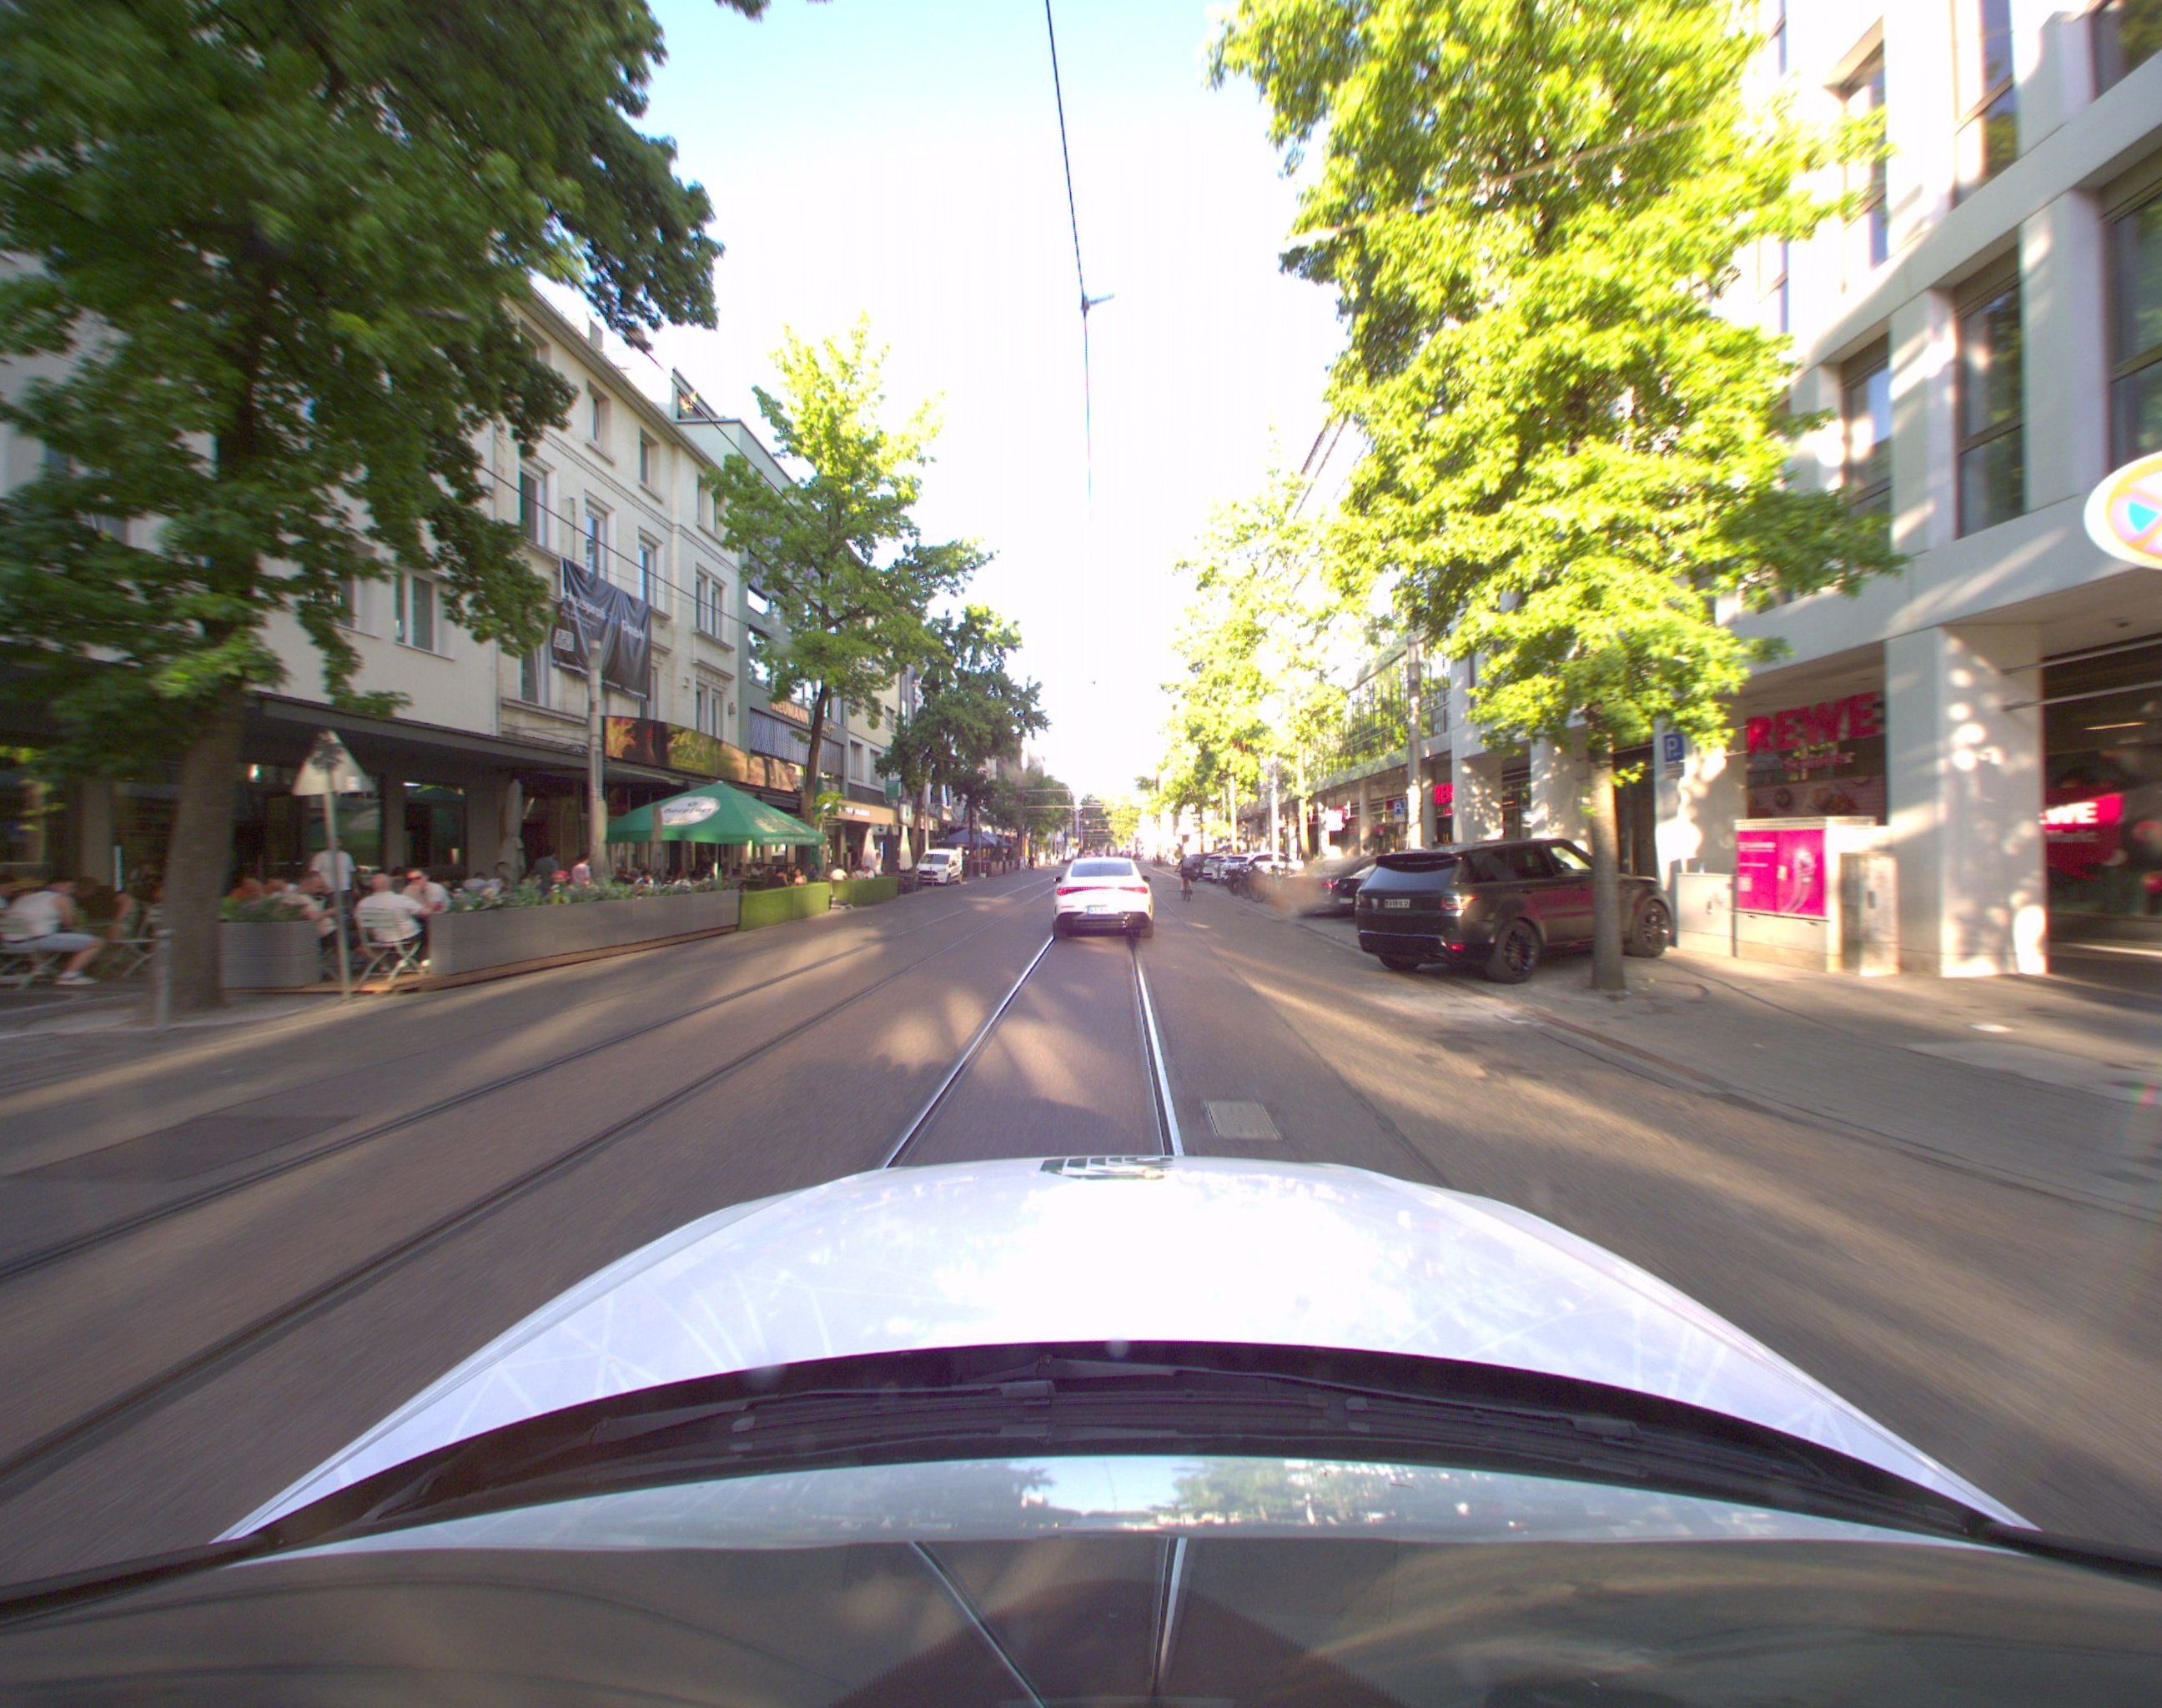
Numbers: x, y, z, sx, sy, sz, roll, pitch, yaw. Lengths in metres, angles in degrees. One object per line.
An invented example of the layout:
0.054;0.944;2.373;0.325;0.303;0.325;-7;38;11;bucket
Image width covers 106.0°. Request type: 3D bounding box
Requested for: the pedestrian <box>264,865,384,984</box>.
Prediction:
-9.272;0.837;10.005;0.686;1.386;0.807;1;0;3;pedestrian

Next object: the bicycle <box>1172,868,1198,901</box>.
3.507;0.999;27.397;0.714;0.995;2.065;1;0;11;bicycle

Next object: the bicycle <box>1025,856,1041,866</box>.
-5.492;0.842;93.612;1.838;1.141;0.377;0;0;3;bicycle

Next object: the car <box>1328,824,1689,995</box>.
5.886;0.610;11.140;4.678;1.763;1.977;-3;0;-27;car

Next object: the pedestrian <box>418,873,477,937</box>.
-12.013;0.955;15.454;0.550;1.161;0.687;1;0;3;pedestrian

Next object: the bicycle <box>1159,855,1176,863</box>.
11.563;0.655;108.809;2.114;1.096;0.607;-1;-1;-11;bicycle

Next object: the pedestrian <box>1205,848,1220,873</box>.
8.943;0.436;55.507;0.672;1.685;0.700;-3;0;36;pedestrian

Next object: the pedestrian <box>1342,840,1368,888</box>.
9.769;0.350;29.040;0.679;1.696;0.548;-1;0;-10;pedestrian

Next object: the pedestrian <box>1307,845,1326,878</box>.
11.990;0.379;41.488;0.711;1.624;0.883;-2;0;3;pedestrian

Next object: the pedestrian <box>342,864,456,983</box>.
-8.418;0.827;10.086;0.686;1.386;0.807;1;0;3;pedestrian

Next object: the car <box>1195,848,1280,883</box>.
8.391;0.599;43.621;4.261;1.587;1.866;-3;0;-29;car

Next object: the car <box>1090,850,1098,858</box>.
3.779;-0.038;236.670;1.902;2.461;5.278;-1;0;3;car

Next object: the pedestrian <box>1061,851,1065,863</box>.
-2.938;0.476;129.959;0.536;1.929;0.574;-1;0;6;pedestrian

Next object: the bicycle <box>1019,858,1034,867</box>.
-5.796;0.950;86.525;1.586;0.930;0.378;0;0;8;bicycle

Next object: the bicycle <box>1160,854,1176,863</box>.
11.281;0.589;105.690;1.908;1.156;0.608;-3;0;-9;bicycle

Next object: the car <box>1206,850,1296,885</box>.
8.540;0.659;40.863;4.163;1.499;1.677;-3;0;-22;car

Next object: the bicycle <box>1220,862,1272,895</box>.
6.386;0.934;31.441;1.901;1.119;0.661;-3;-1;-27;bicycle

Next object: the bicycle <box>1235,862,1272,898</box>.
6.254;0.942;29.494;0.475;1.163;1.705;-4;-1;42;bicycle

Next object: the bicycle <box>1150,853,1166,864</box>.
10.115;0.594;106.535;1.908;1.281;0.608;-3;0;-9;bicycle

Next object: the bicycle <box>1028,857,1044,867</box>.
-5.019;0.896;91.126;1.841;1.077;0.377;0;0;-2;bicycle

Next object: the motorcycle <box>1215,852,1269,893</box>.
6.548;0.737;33.005;2.332;1.510;0.849;-3;-1;-42;motorcycle

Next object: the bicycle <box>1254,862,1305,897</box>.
7.124;0.916;29.183;1.697;1.106;0.627;-4;-1;-24;bicycle

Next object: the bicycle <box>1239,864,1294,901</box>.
6.203;0.949;27.246;1.567;1.088;0.861;-4;2;-28;bicycle

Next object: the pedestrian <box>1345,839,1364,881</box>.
11.776;0.250;35.086;0.555;1.750;0.525;-3;0;2;pedestrian

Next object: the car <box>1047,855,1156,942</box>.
0.423;0.761;15.916;1.850;1.455;4.177;0;0;2;car

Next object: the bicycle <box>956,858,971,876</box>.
-7.756;0.856;53.718;0.699;1.121;2.076;2;0;-15;bicycle

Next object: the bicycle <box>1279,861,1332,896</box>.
7.737;0.828;28.069;1.679;1.074;0.726;-4;2;-28;bicycle

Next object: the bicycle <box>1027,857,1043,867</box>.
-5.052;0.885;89.883;1.784;1.077;0.377;0;0;-2;bicycle

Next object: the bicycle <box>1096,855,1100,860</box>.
3.519;0.735;166.213;0.797;1.142;2.257;1;0;1;bicycle

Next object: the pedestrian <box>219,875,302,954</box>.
-12.658;0.921;12.579;0.550;1.161;0.687;1;0;3;pedestrian

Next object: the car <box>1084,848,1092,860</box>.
1.846;-0.010;218.046;1.985;2.897;5.278;-1;0;3;car

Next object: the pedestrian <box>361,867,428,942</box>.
-12.362;0.901;14.682;0.599;1.298;0.687;1;0;3;pedestrian

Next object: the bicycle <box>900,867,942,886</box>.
-7.701;1.096;39.290;0.826;0.865;1.872;1;0;41;bicycle

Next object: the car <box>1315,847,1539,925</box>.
8.007;0.693;18.897;4.666;1.426;1.921;-3;0;-19;car

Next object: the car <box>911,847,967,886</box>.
-7.371;0.613;42.693;1.788;1.864;4.557;2;0;3;car

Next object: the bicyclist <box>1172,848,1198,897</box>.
3.497;0.604;27.316;0.772;1.613;0.915;1;0;11;bicyclist

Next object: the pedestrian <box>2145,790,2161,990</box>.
9.895;0.317;6.913;0.746;1.818;0.808;-4;-2;35;pedestrian

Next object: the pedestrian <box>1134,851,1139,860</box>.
11.195;0.356;163.486;0.957;1.785;0.804;-3;0;2;pedestrian

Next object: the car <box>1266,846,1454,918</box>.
7.415;0.683;21.462;5.082;1.469;1.956;-4;0;-34;car

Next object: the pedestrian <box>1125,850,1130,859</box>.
9.491;0.061;165.517;0.957;1.785;0.804;-3;0;2;pedestrian

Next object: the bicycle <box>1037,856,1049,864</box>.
-5.092;0.835;108.690;1.491;1.029;0.344;0;0;-8;bicycle

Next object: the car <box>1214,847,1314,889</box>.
8.141;0.610;36.171;4.174;1.571;1.836;-3;0;-31;car

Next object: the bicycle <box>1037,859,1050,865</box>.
-4.505;0.958;98.222;1.486;0.783;0.345;0;0;3;bicycle

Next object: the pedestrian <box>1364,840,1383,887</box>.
10.521;0.345;29.346;0.514;1.696;0.551;-1;0;7;pedestrian

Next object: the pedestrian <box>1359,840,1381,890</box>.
10.406;0.403;29.313;0.521;1.750;0.559;-3;0;4;pedestrian

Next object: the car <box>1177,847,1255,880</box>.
7.905;0.532;47.567;4.369;1.652;1.679;-3;0;-29;car

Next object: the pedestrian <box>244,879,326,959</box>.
-12.222;0.979;12.528;0.550;1.161;0.687;1;0;3;pedestrian

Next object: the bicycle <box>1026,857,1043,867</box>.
-5.104;0.882;89.441;1.784;1.077;0.377;0;0;-2;bicycle
